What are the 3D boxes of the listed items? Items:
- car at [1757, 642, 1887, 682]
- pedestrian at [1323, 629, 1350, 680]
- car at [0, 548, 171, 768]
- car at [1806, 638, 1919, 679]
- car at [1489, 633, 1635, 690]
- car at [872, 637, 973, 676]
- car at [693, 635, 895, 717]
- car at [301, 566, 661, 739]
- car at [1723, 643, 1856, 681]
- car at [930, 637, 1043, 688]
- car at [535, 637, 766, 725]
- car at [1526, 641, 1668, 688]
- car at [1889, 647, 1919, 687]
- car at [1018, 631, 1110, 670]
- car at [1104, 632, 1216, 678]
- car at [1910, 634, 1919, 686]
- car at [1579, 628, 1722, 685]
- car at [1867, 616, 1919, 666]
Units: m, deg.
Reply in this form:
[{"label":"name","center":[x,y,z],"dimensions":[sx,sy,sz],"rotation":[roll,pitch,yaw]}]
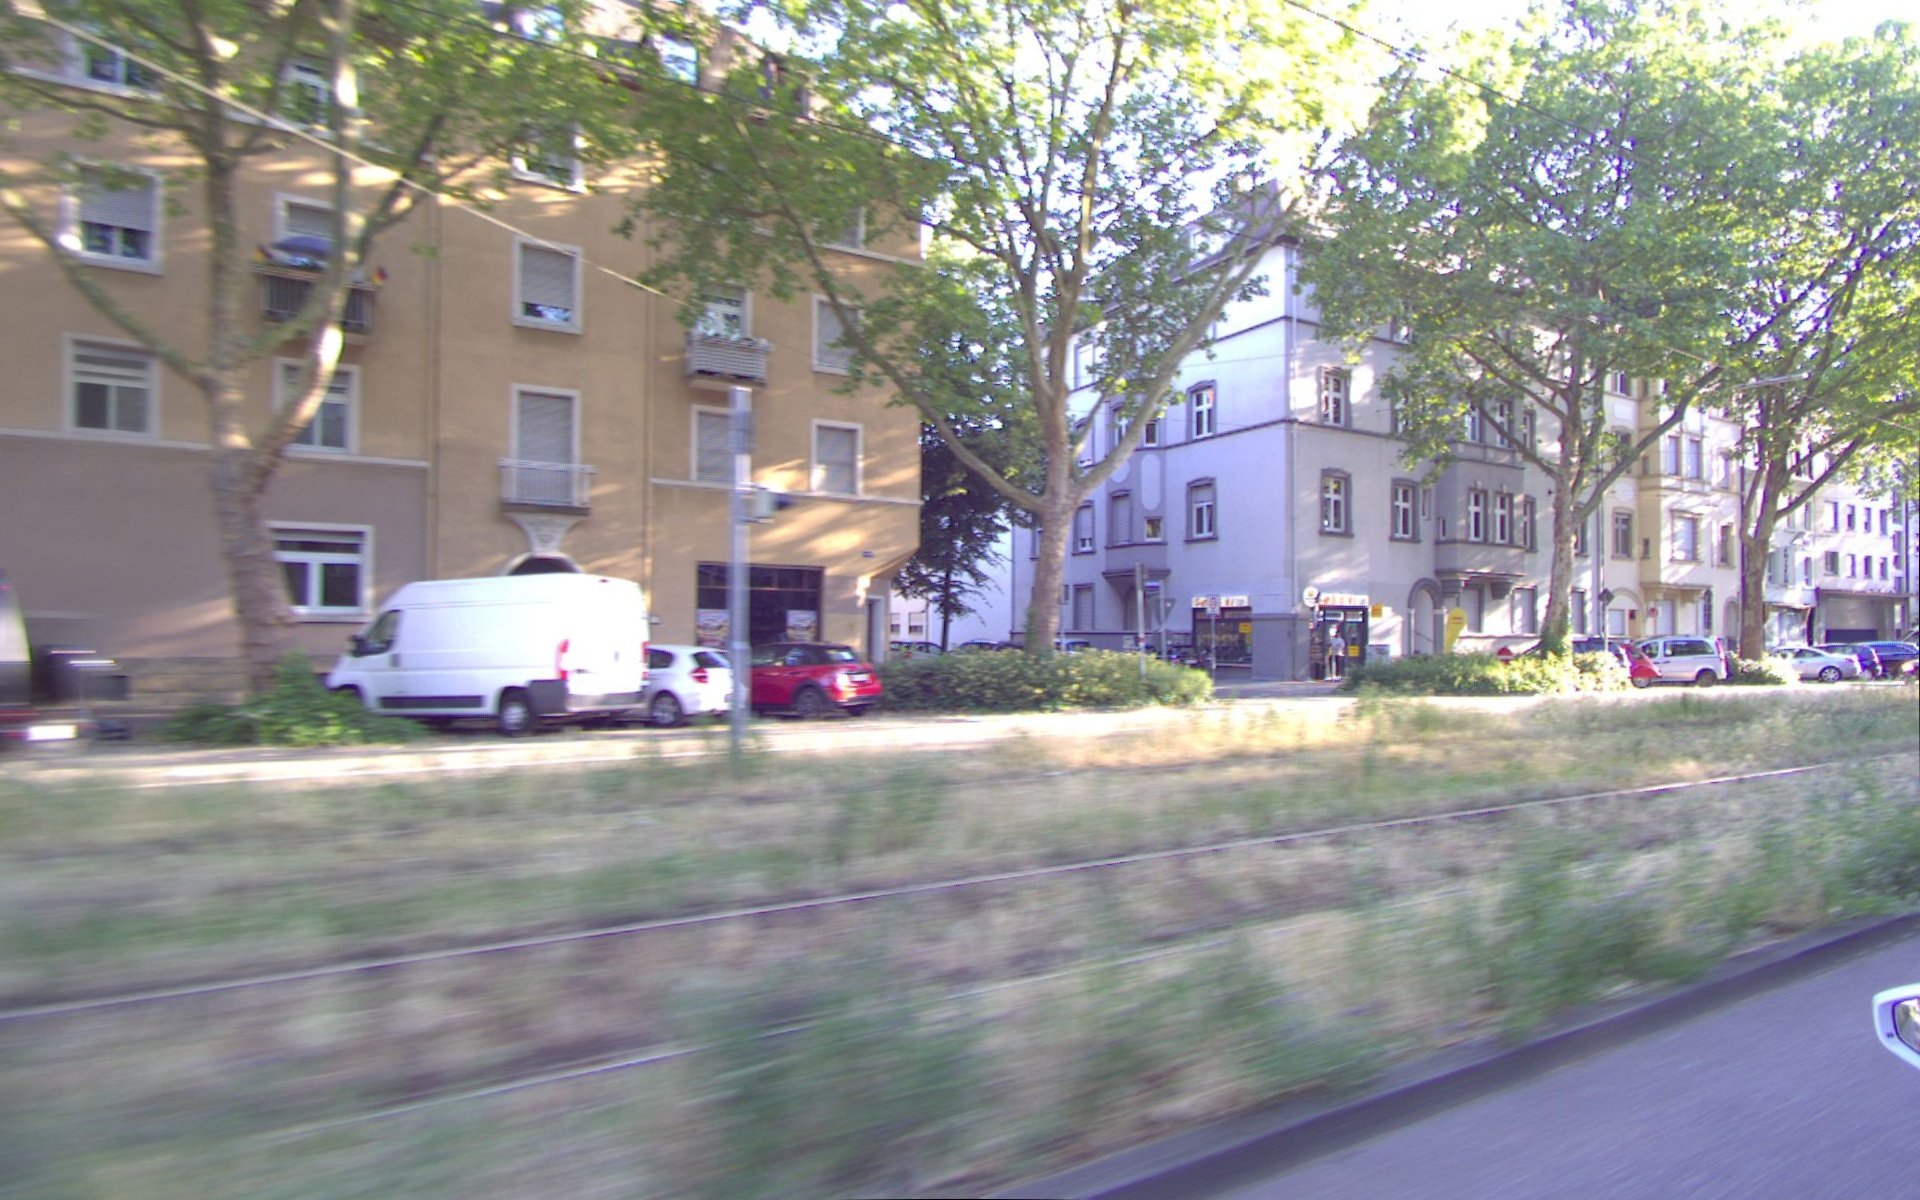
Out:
[{"label":"car","center":[37.317,2.687,43.618],"dimensions":[3.928,1.573,1.853],"rotation":[-3,-3,29]},{"label":"pedestrian","center":[13.507,1.943,36.048],"dimensions":[0.663,1.782,0.625],"rotation":[1,-2,-25]},{"label":"car","center":[-9.317,0.409,7.813],"dimensions":[4.722,1.716,1.860],"rotation":[2,-2,-31]},{"label":"car","center":[40.490,2.606,44.766],"dimensions":[3.928,1.721,1.854],"rotation":[-2,-3,29]},{"label":"car","center":[19.922,2.004,33.427],"dimensions":[3.922,1.746,1.784],"rotation":[0,-2,22]},{"label":"car","center":[-1.337,2.067,37.740],"dimensions":[1.764,1.354,4.410],"rotation":[-1,-2,29]},{"label":"car","center":[-3.281,1.449,19.786],"dimensions":[3.643,1.485,1.734],"rotation":[-2,-2,29]},{"label":"car","center":[-7.958,0.806,16.759],"dimensions":[5.399,2.562,2.127],"rotation":[0,-1,18]},{"label":"car","center":[33.417,2.467,40.601],"dimensions":[3.928,1.374,1.583],"rotation":[0,-2,29]},{"label":"car","center":[0.945,2.034,32.802],"dimensions":[1.764,1.522,4.524],"rotation":[-1,-4,29]},{"label":"car","center":[-5.554,1.399,18.127],"dimensions":[3.636,1.418,1.737],"rotation":[0,-1,18]},{"label":"car","center":[22.100,2.216,35.004],"dimensions":[3.922,1.467,1.586],"rotation":[0,-2,22]},{"label":"car","center":[38.176,2.607,38.578],"dimensions":[4.853,1.479,1.743],"rotation":[2,-2,-22]},{"label":"car","center":[4.281,2.093,41.984],"dimensions":[1.794,1.528,3.965],"rotation":[2,-2,-32]},{"label":"car","center":[7.256,1.971,36.768],"dimensions":[1.794,1.528,3.965],"rotation":[2,-2,-32]},{"label":"car","center":[31.582,1.895,31.320],"dimensions":[3.953,1.594,1.782],"rotation":[2,-2,-30]},{"label":"car","center":[25.086,2.023,36.664],"dimensions":[3.921,1.906,2.000],"rotation":[1,-2,21]},{"label":"car","center":[53.299,2.239,53.796],"dimensions":[6.855,2.713,2.176],"rotation":[0,-2,40]}]
